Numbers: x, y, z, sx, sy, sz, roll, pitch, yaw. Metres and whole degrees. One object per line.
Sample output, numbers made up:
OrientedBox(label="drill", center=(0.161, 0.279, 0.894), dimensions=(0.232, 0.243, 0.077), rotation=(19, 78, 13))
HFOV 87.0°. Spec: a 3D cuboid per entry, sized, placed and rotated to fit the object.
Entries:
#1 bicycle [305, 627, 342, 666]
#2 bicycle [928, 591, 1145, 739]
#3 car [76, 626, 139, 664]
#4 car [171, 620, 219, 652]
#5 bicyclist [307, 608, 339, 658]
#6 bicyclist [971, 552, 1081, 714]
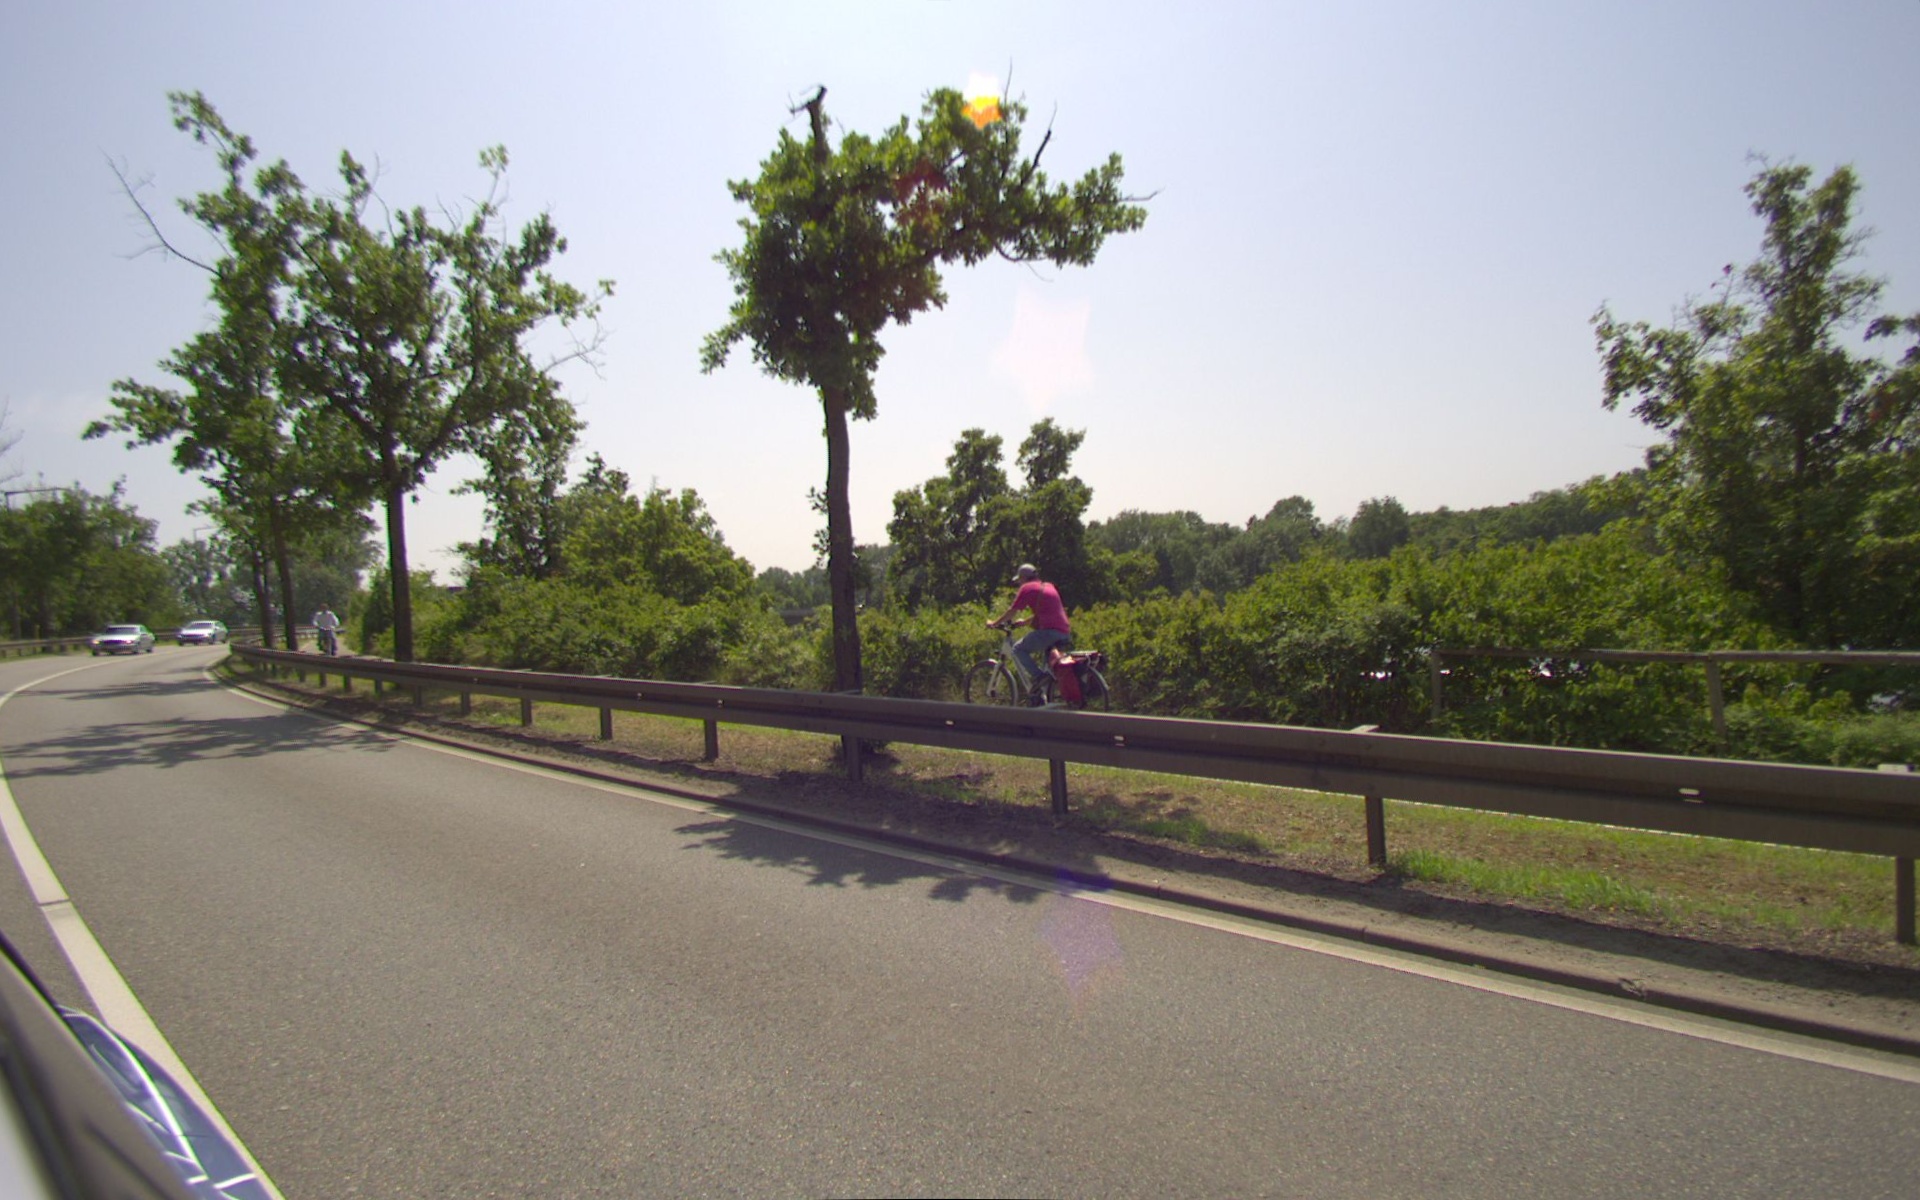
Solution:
OrientedBox(label="bicycle", center=(-19.543, 1.410, 31.040), dimensions=(0.725, 1.125, 2.050), rotation=(1, -2, -39))
OrientedBox(label="bicycle", center=(0.702, 0.590, 9.855), dimensions=(2.044, 1.291, 0.727), rotation=(-2, 0, 40))
OrientedBox(label="car", center=(-40.233, 2.096, 47.839), dimensions=(1.735, 1.510, 4.245), rotation=(-2, 2, -33))
OrientedBox(label="car", center=(-46.943, 2.172, 62.149), dimensions=(1.769, 1.796, 4.306), rotation=(-2, 0, -30))
OrientedBox(label="bicyclist", center=(-19.513, 1.005, 31.010), dimensions=(0.720, 1.477, 0.826), rotation=(1, -2, -38))
OrientedBox(label="bicyclist", center=(0.645, 0.305, 9.881), dimensions=(0.756, 1.500, 0.734), rotation=(-2, 0, 40))
